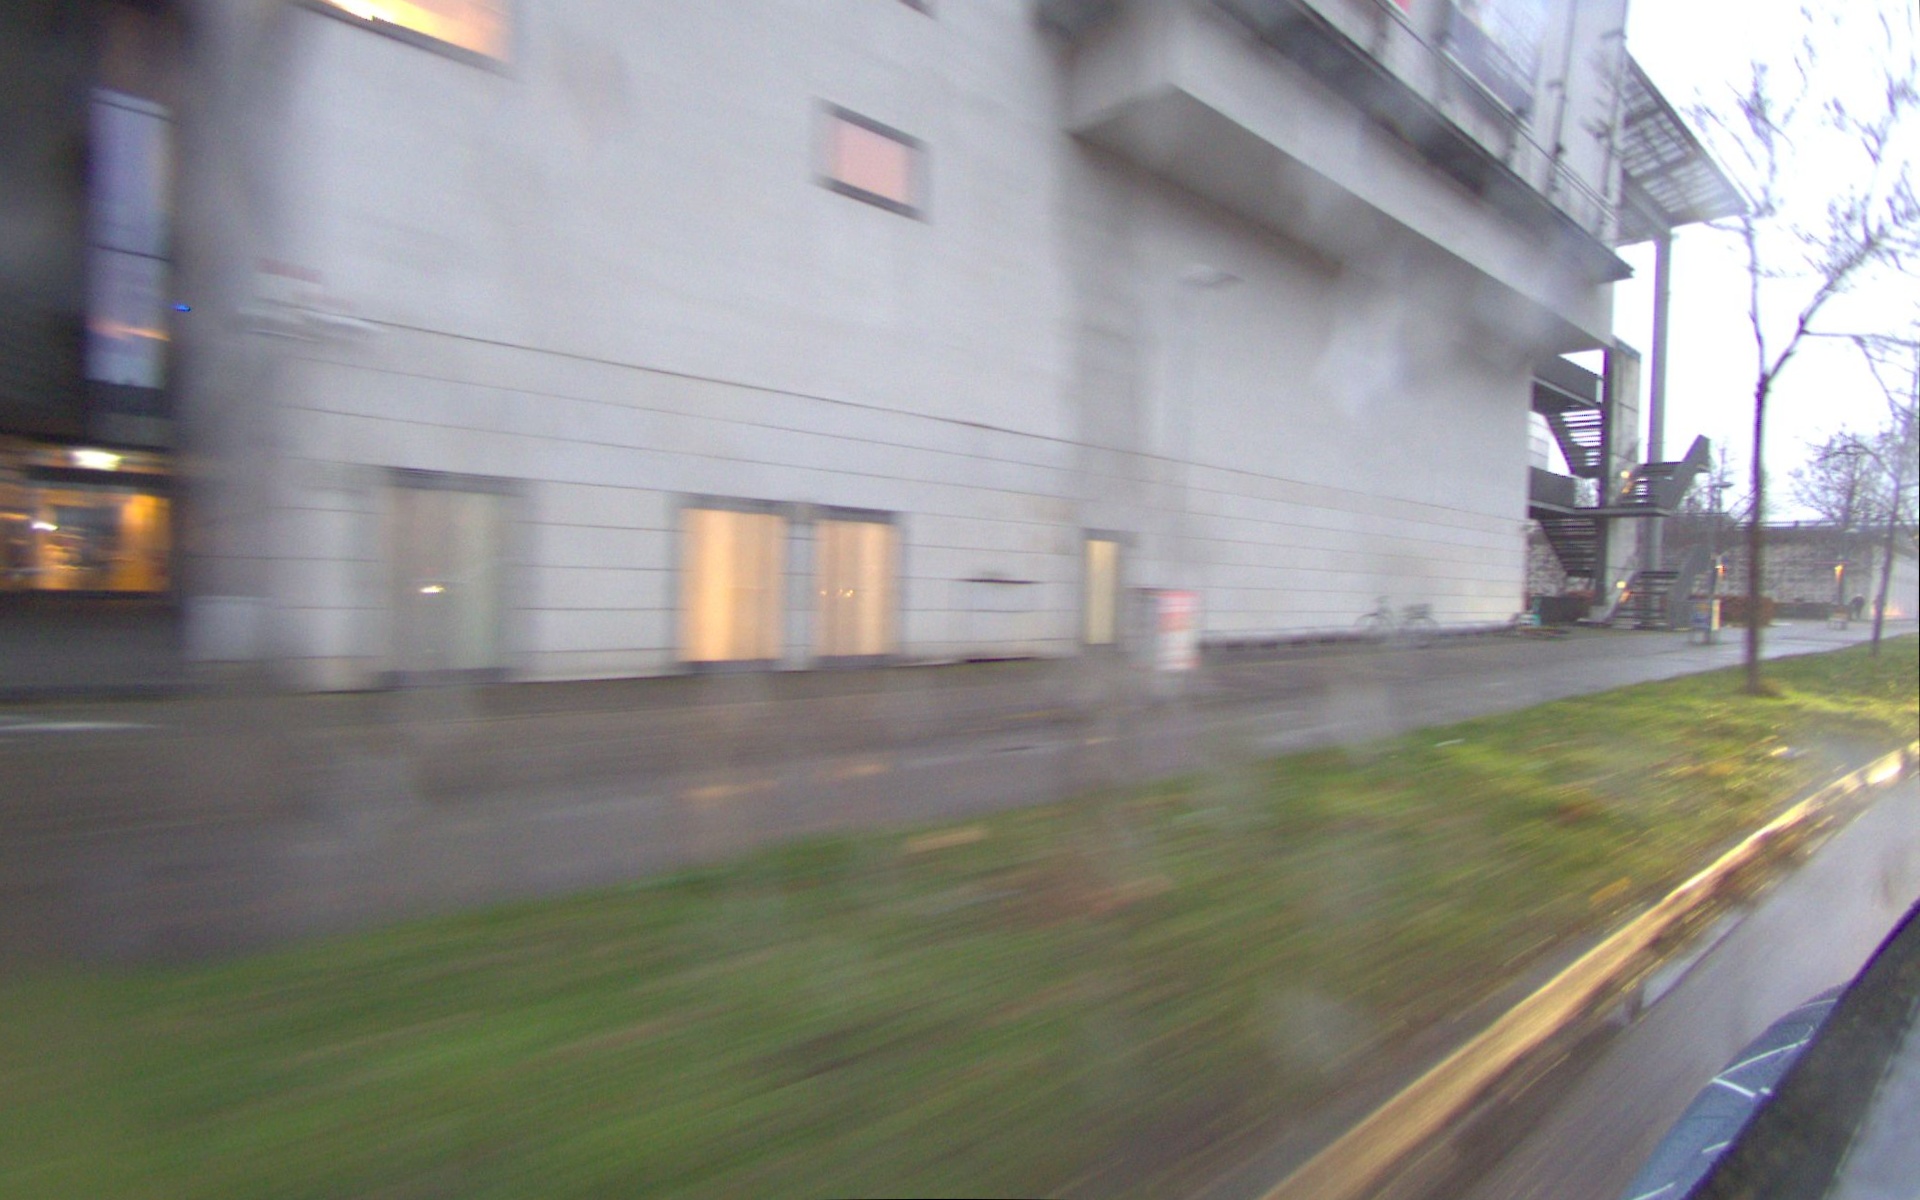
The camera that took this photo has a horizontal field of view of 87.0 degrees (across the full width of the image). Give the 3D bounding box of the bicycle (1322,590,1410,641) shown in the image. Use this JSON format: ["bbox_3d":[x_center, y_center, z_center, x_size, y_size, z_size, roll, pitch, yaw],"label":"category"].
[{"bbox_3d":[9.138,0.334,22.842,0.390,1.065,1.811,1,2,-43],"label":"bicycle"}]

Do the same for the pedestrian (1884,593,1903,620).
[{"bbox_3d":[56.609,0.404,61.347,0.602,1.633,0.675,0,-1,-28],"label":"pedestrian"}]

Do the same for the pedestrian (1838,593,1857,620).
[{"bbox_3d":[53.755,0.376,61.268,0.601,1.646,0.676,0,-1,-26],"label":"pedestrian"}]

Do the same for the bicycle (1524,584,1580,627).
[{"bbox_3d":[18.433,0.173,31.525,1.707,1.301,0.412,0,-1,-14],"label":"bicycle"}]

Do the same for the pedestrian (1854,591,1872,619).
[{"bbox_3d":[58.425,0.305,65.455,0.602,1.800,0.675,0,-1,-28],"label":"pedestrian"}]
